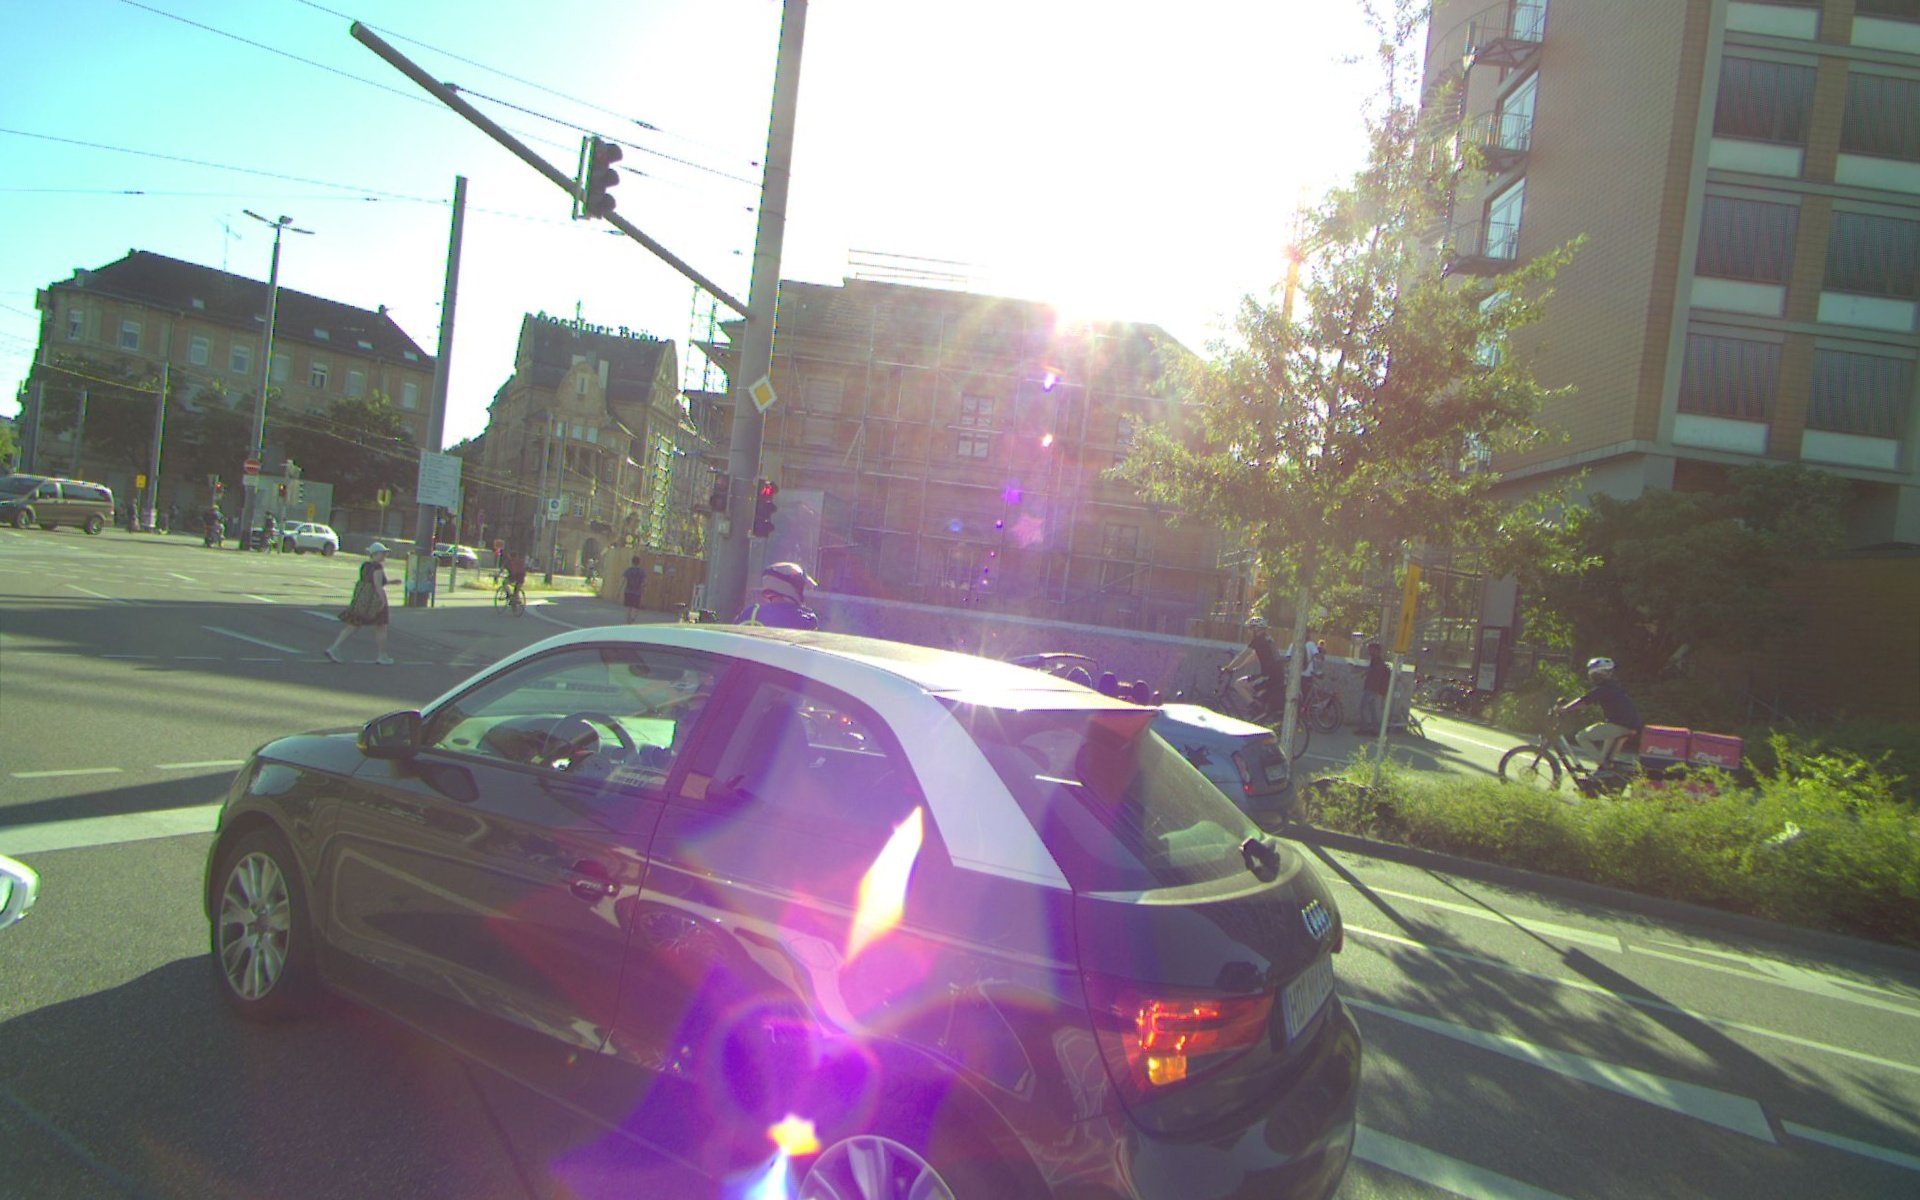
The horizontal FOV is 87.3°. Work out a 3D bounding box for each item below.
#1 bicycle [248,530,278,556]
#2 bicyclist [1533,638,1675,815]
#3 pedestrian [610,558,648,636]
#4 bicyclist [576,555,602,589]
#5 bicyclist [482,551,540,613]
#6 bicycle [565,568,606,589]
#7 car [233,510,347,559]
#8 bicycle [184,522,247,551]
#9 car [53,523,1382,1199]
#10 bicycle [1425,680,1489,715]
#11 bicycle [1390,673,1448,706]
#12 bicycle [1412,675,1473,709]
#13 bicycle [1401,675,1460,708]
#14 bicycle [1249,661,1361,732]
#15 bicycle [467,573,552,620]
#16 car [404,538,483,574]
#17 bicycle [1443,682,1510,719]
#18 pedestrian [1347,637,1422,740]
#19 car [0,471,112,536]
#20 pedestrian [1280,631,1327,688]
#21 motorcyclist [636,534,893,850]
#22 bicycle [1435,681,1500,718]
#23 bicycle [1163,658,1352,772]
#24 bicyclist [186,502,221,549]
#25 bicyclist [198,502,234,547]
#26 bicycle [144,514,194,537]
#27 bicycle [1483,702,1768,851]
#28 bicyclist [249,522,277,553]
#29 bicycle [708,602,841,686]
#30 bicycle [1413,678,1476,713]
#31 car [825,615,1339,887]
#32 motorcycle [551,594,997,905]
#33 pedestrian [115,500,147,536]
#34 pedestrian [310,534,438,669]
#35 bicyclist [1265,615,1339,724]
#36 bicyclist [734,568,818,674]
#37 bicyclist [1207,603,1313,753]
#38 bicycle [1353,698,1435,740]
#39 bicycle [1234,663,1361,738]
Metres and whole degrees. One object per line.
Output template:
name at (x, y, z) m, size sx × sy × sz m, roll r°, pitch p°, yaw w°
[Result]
bicycle at (-30.512, -2.498, 44.017) m, size 0.854 × 0.916 × 2.278 m, roll 8°, pitch 0°, yaw -38°
bicyclist at (7.503, 1.441, 11.731) m, size 0.776 × 1.856 × 1.079 m, roll 5°, pitch 1°, yaw -45°
pedestrian at (-7.640, -0.078, 23.201) m, size 0.688 × 1.693 × 0.825 m, roll 5°, pitch 2°, yaw -20°
bicyclist at (-20.407, -1.556, 55.305) m, size 0.844 × 1.711 × 0.748 m, roll 9°, pitch 1°, yaw 11°
bicyclist at (-11.092, -0.436, 24.864) m, size 1.058 × 1.401 × 0.721 m, roll 5°, pitch -1°, yaw 32°
bicycle at (-20.484, -1.160, 55.153) m, size 0.844 × 0.885 × 2.503 m, roll 9°, pitch 0°, yaw 11°
car at (-32.833, -3.163, 49.516) m, size 1.916 × 1.821 × 4.852 m, roll 7°, pitch 0°, yaw 5°
bicycle at (-31.458, -2.679, 42.552) m, size 0.844 × 0.916 × 2.303 m, roll 9°, pitch 0°, yaw 1°
car at (-0.861, 0.747, 3.317) m, size 3.908 × 1.461 × 1.806 m, roll 7°, pitch -1°, yaw 27°
bicycle at (15.310, 3.001, 30.992) m, size 1.623 × 0.868 × 0.529 m, roll 7°, pitch 1°, yaw 1°
bicycle at (15.506, 3.029, 33.989) m, size 1.623 × 0.868 × 0.529 m, roll 7°, pitch 1°, yaw 1°
bicycle at (15.633, 2.990, 32.615) m, size 1.623 × 0.868 × 0.529 m, roll 7°, pitch 1°, yaw 1°
bicycle at (15.569, 3.021, 33.331) m, size 1.623 × 0.868 × 0.529 m, roll 7°, pitch 1°, yaw 1°
bicycle at (6.445, 1.784, 18.891) m, size 0.621 × 1.052 × 1.946 m, roll 4°, pitch 1°, yaw -33°
bicycle at (-11.145, -0.092, 24.869) m, size 2.212 × 0.964 × 0.721 m, roll 5°, pitch -1°, yaw 32°
car at (-31.148, -2.612, 60.846) m, size 1.915 × 1.582 × 4.360 m, roll 9°, pitch 0°, yaw 8°
bicycle at (15.324, 2.981, 29.848) m, size 1.623 × 0.868 × 0.529 m, roll 7°, pitch 1°, yaw 1°
pedestrian at (7.562, 1.570, 17.915) m, size 0.803 × 1.677 × 0.781 m, roll 9°, pitch -2°, yaw -42°
car at (-33.846, -3.545, 36.670) m, size 1.919 × 1.916 × 4.846 m, roll 7°, pitch 0°, yaw -5°
pedestrian at (13.290, 2.293, 38.963) m, size 1.274 × 2.039 × 0.996 m, roll 7°, pitch 1°, yaw 3°
motorcyclist at (-1.210, 0.548, 6.365) m, size 0.921 × 1.742 × 1.097 m, roll 6°, pitch -1°, yaw 33°
bicycle at (15.332, 2.999, 30.410) m, size 1.623 × 0.868 × 0.529 m, roll 7°, pitch 1°, yaw 1°
bicycle at (4.028, 1.511, 13.656) m, size 2.250 × 1.170 × 0.779 m, roll 7°, pitch 1°, yaw 26°
bicyclist at (-31.429, -3.081, 41.794) m, size 0.851 × 1.800 × 0.584 m, roll 6°, pitch 1°, yaw 1°
bicyclist at (-31.380, -3.186, 42.433) m, size 0.844 × 1.711 × 0.651 m, roll 8°, pitch 1°, yaw 1°
bicycle at (-47.345, -4.452, 60.252) m, size 0.844 × 0.991 × 2.305 m, roll 9°, pitch 0°, yaw 9°
bicycle at (7.591, 1.956, 11.609) m, size 0.776 × 1.170 × 2.548 m, roll 6°, pitch 1°, yaw -45°
bicyclist at (-30.504, -2.719, 44.031) m, size 0.853 × 1.191 × 0.707 m, roll 8°, pitch 1°, yaw -38°
bicycle at (-3.254, 0.734, 17.528) m, size 2.252 × 1.172 × 0.778 m, roll 7°, pitch 3°, yaw 30°
bicycle at (15.212, 2.996, 31.618) m, size 1.623 × 0.868 × 0.529 m, roll 7°, pitch 1°, yaw 1°
car at (0.953, 1.135, 8.713) m, size 3.916 × 1.461 × 1.802 m, roll 6°, pitch -2°, yaw 36°
motorcycle at (-1.231, 0.814, 6.357) m, size 2.610 × 1.394 × 1.097 m, roll 6°, pitch -1°, yaw 33°
pedestrian at (-42.083, -4.165, 51.062) m, size 0.770 × 1.697 × 0.925 m, roll 7°, pitch 1°, yaw 31°
pedestrian at (-7.691, 0.051, 13.236) m, size 0.686 × 1.626 × 1.096 m, roll 9°, pitch 1°, yaw 21°
bicyclist at (6.097, 1.220, 17.933) m, size 0.881 × 1.810 × 0.785 m, roll 6°, pitch 2°, yaw 40°
bicyclist at (-3.206, 0.346, 17.498) m, size 1.074 × 1.700 × 0.778 m, roll 7°, pitch 4°, yaw 30°
bicyclist at (4.071, 1.039, 13.647) m, size 1.074 × 1.853 × 0.779 m, roll 7°, pitch 1°, yaw 26°
bicycle at (8.267, 2.263, 19.207) m, size 1.332 × 0.547 × 0.430 m, roll 7°, pitch 2°, yaw 18°
bicycle at (6.013, 1.765, 17.988) m, size 1.935 × 1.052 × 0.788 m, roll 6°, pitch 2°, yaw 40°
